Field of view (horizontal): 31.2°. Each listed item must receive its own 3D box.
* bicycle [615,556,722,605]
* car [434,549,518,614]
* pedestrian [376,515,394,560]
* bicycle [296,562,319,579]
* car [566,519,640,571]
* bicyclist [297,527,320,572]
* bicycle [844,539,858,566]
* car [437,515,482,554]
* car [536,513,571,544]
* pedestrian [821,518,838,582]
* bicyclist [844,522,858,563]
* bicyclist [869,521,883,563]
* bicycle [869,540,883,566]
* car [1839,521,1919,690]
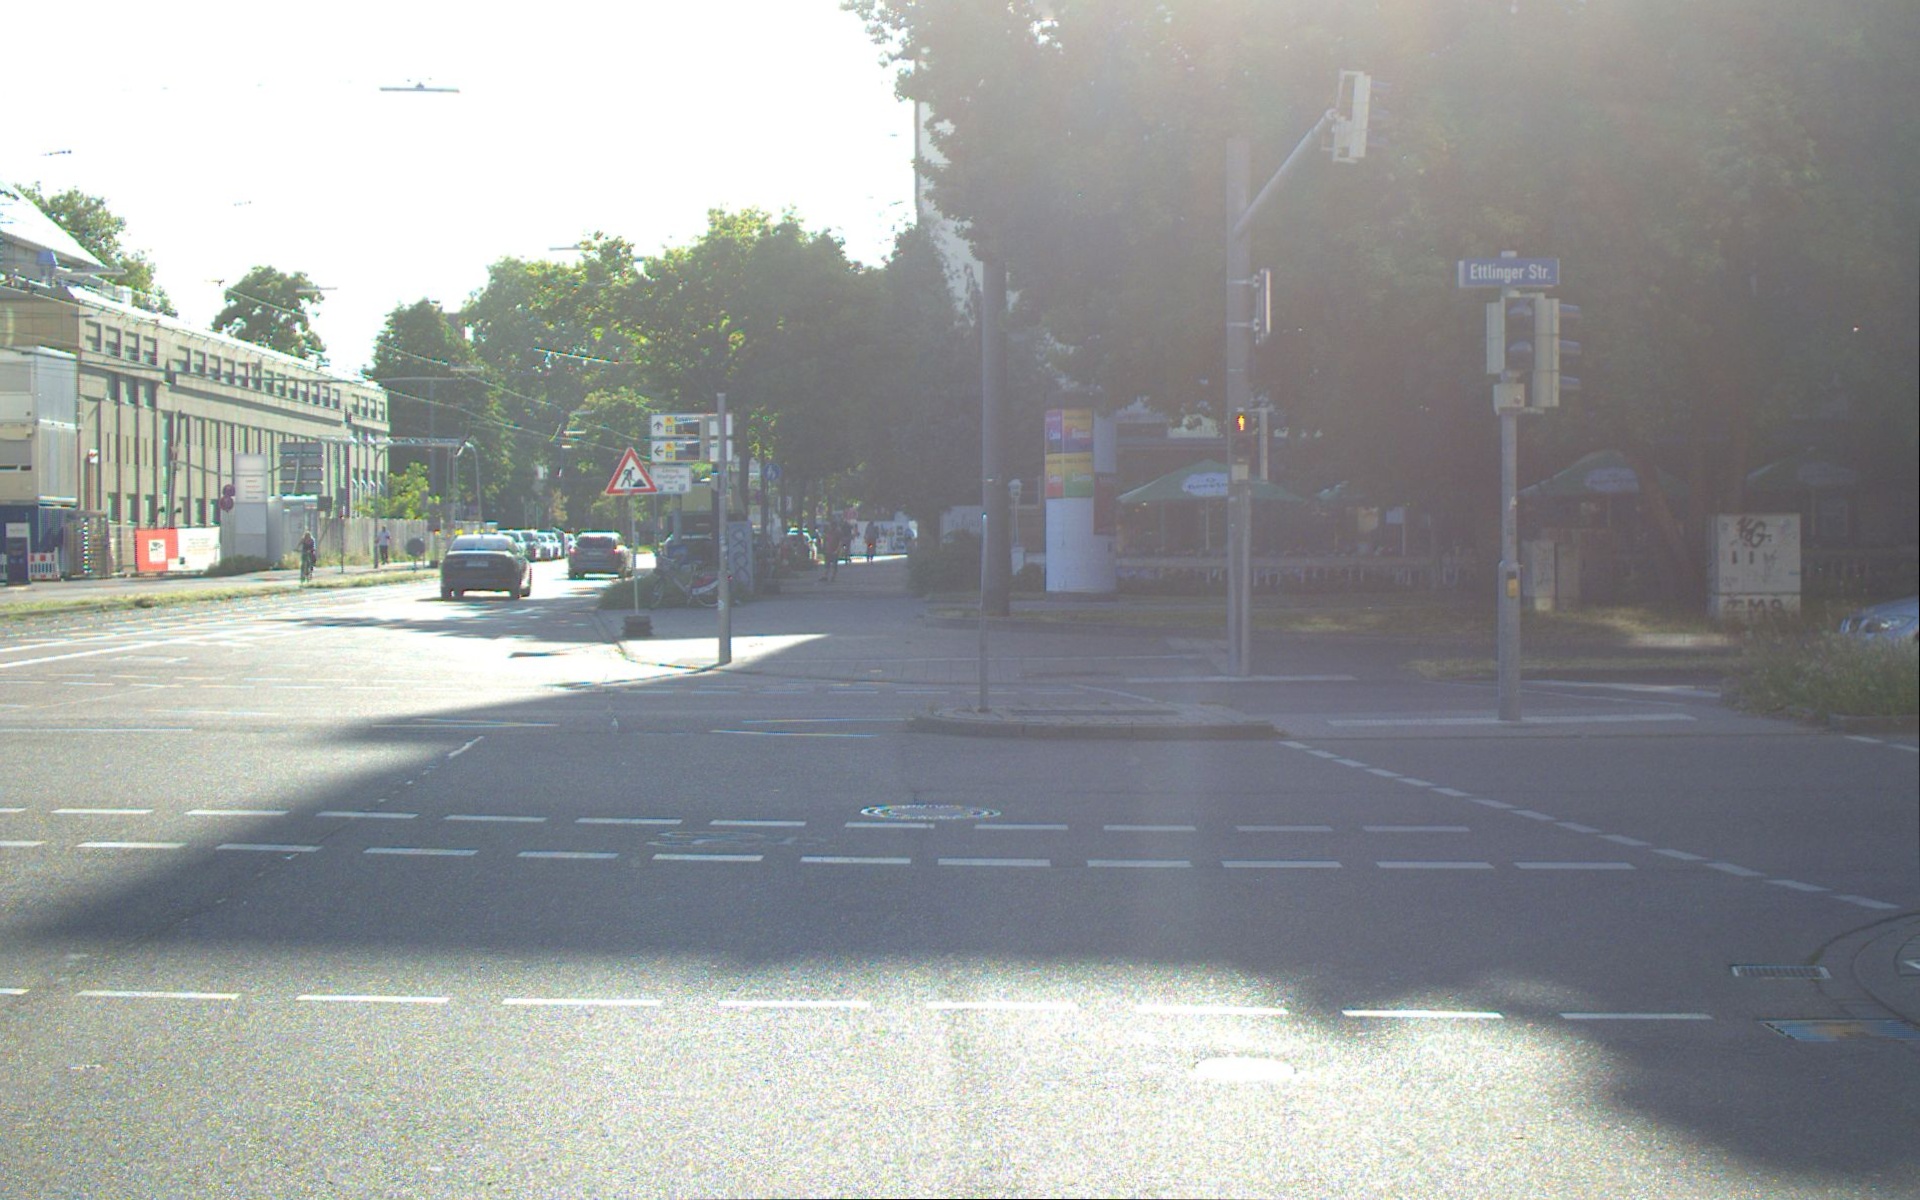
[{"bbox_3d":[-5.727,-0.383,67.475,2.018,0.888,0.650,-2,0,27],"label":"bicycle"},{"bbox_3d":[-11.175,-0.453,79.616,1.660,1.450,4.433,1,1,-5],"label":"car"},{"bbox_3d":[-25.658,-2.773,153.406,0.674,2.007,0.751,1,0,-3],"label":"pedestrian"},{"bbox_3d":[-20.307,-0.909,106.976,0.501,0.513,1.258,1,1,-1],"label":"bicycle"},{"bbox_3d":[-11.636,-1.811,112.229,1.892,1.560,4.808,3,1,0],"label":"car"},{"bbox_3d":[-20.286,-1.570,106.999,0.596,1.372,0.638,1,0,-2],"label":"bicyclist"},{"bbox_3d":[-4.485,-1.959,141.522,0.575,1.073,1.831,0,1,-1],"label":"bicycle"},{"bbox_3d":[-22.772,-2.962,156.440,1.692,1.712,4.248,1,1,-4],"label":"car"},{"bbox_3d":[-23.010,-4.026,194.685,1.692,1.712,4.248,1,1,-4],"label":"car"},{"bbox_3d":[-3.713,-1.418,97.711,0.463,1.807,0.503,0,1,-5],"label":"pedestrian"},{"bbox_3d":[-4.495,-2.376,141.503,0.569,1.685,0.700,0,1,-1],"label":"bicyclist"},{"bbox_3d":[-3.445,-2.389,141.426,0.569,1.685,0.700,0,1,-1],"label":"bicyclist"},{"bbox_3d":[-3.443,-1.935,141.391,0.575,1.073,1.831,0,1,-1],"label":"bicycle"},{"bbox_3d":[10.757,0.021,33.406,3.993,1.605,1.650,-1,1,-1],"label":"car"}]
